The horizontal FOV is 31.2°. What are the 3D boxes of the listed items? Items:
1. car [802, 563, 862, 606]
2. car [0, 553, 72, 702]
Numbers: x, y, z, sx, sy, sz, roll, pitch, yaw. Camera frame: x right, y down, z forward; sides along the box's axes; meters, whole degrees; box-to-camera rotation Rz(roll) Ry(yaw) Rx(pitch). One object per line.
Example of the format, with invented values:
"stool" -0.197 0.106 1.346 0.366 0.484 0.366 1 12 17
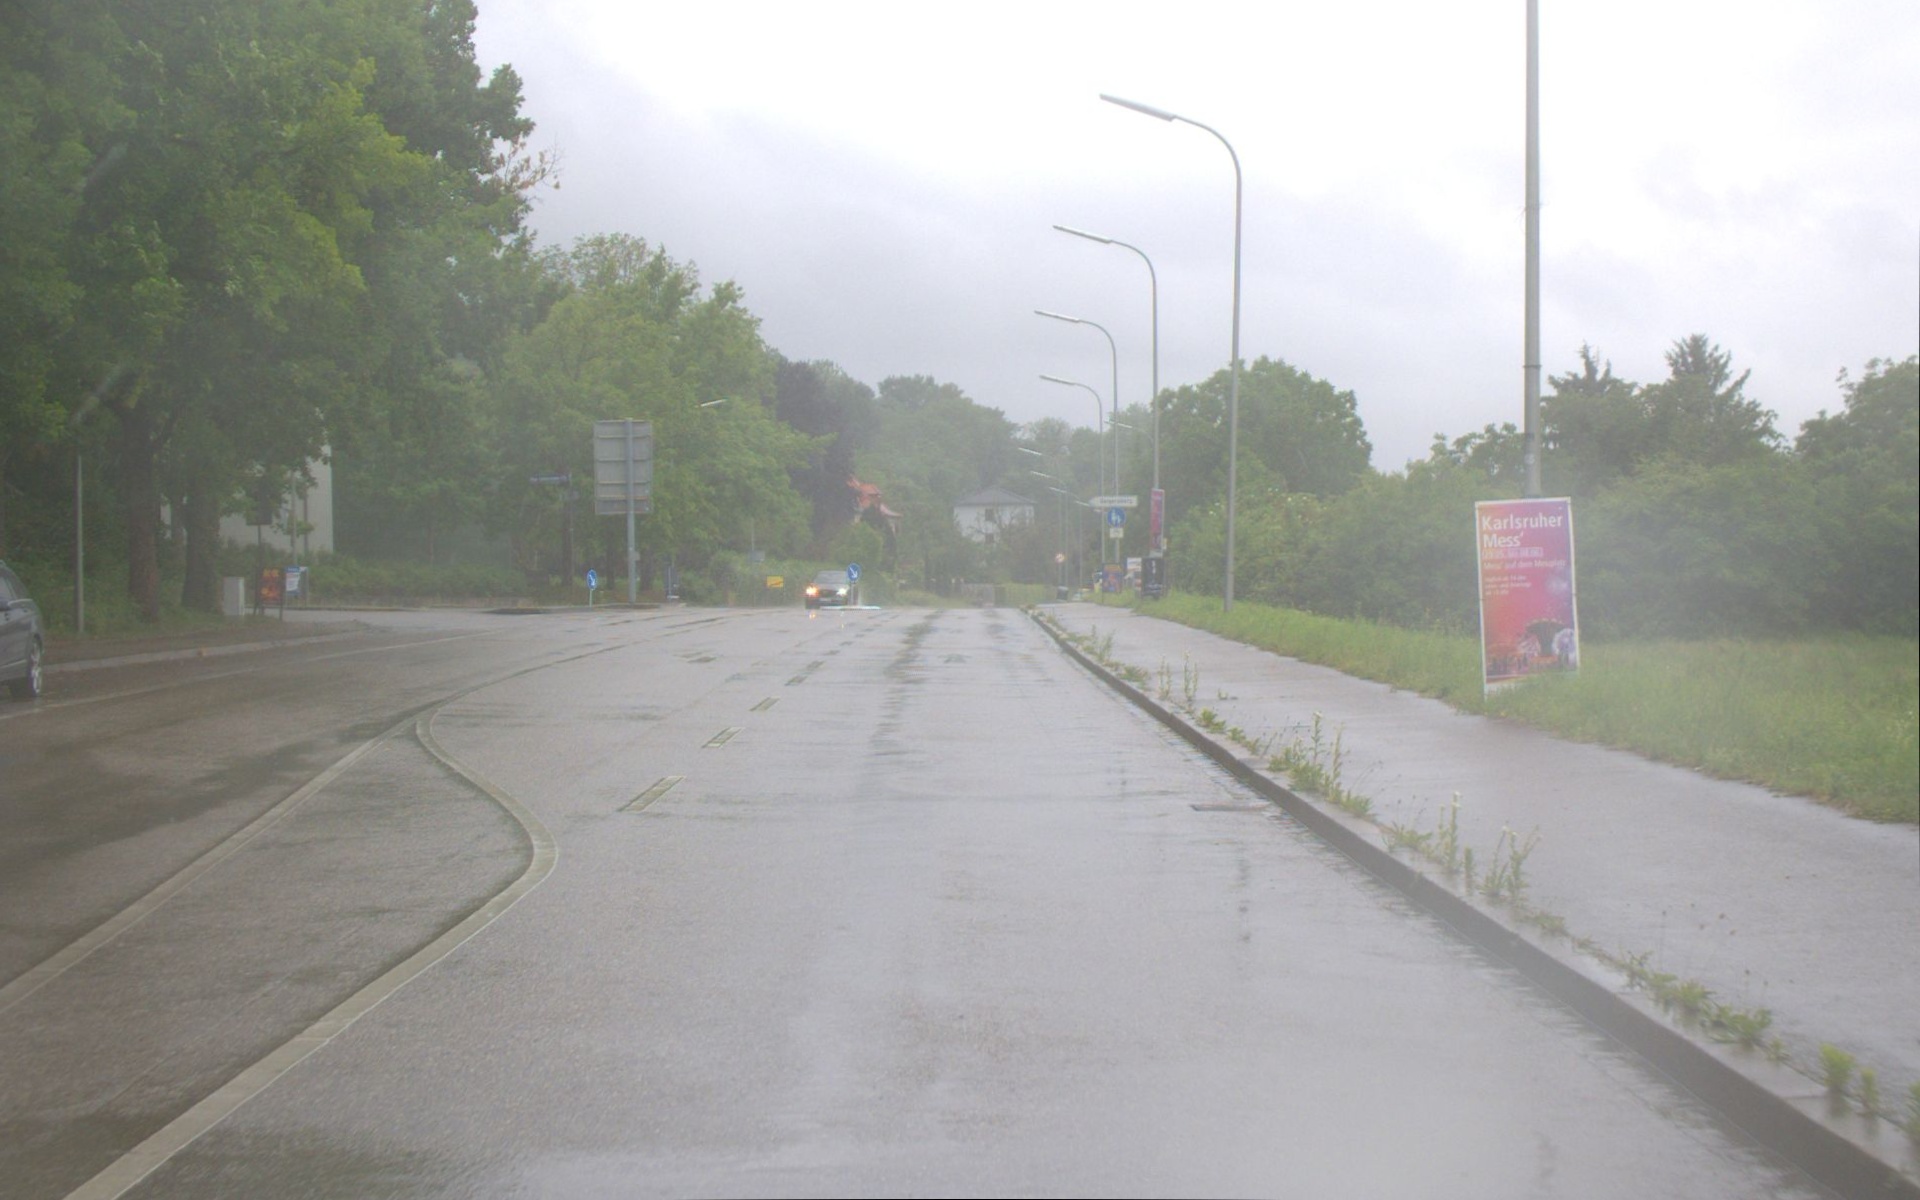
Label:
"car" -5.365 -0.675 144.720 1.795 1.756 3.999 1 1 9
"car" -10.038 0.263 33.650 1.686 1.414 4.742 -1 1 -3
